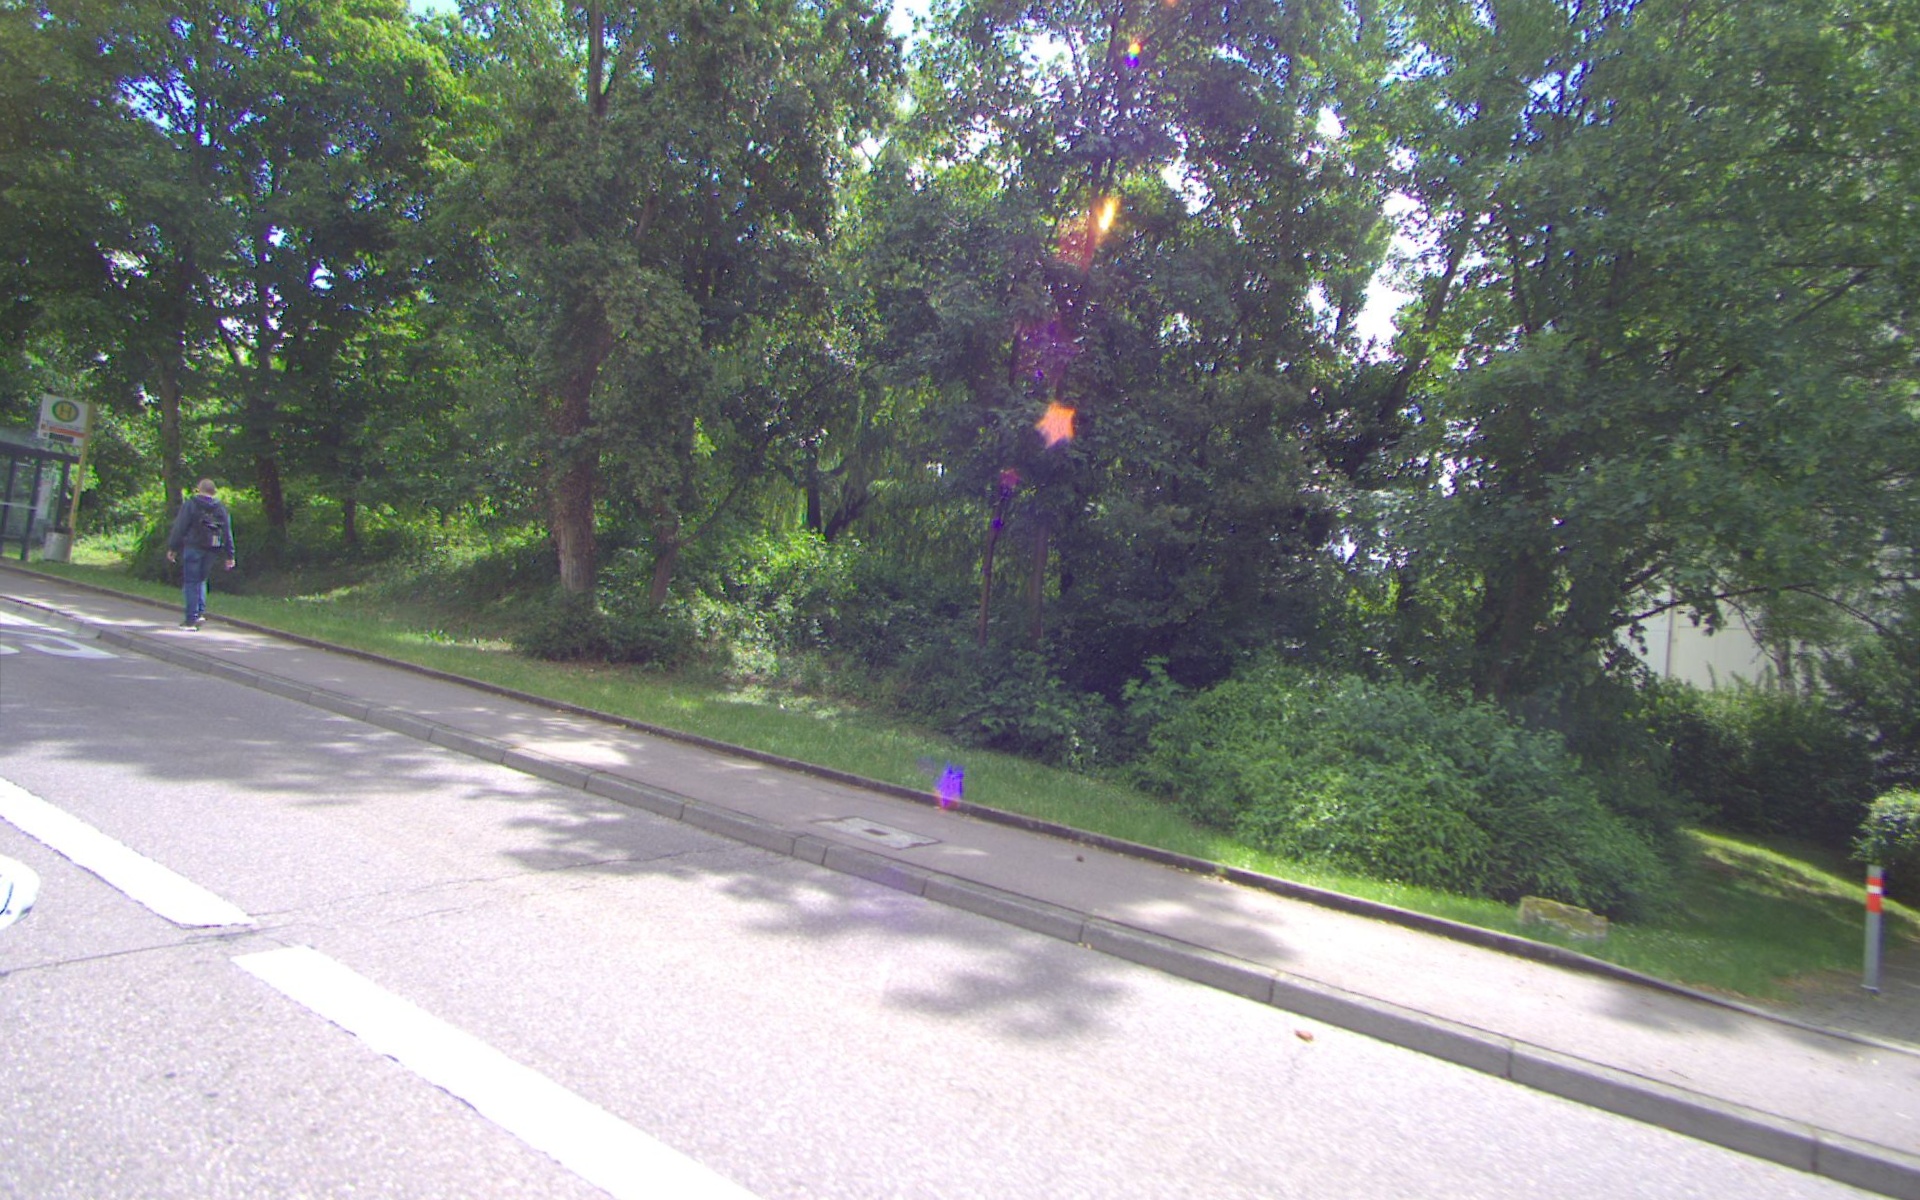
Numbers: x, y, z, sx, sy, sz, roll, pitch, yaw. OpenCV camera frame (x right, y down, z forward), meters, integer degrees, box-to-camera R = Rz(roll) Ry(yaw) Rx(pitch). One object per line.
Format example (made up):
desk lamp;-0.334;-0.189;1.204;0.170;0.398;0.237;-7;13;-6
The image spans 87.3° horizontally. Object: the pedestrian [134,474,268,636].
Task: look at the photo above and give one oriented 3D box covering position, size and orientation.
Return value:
pedestrian;-9.861;-0.585;13.069;1.249;1.917;0.803;7;-1;32
